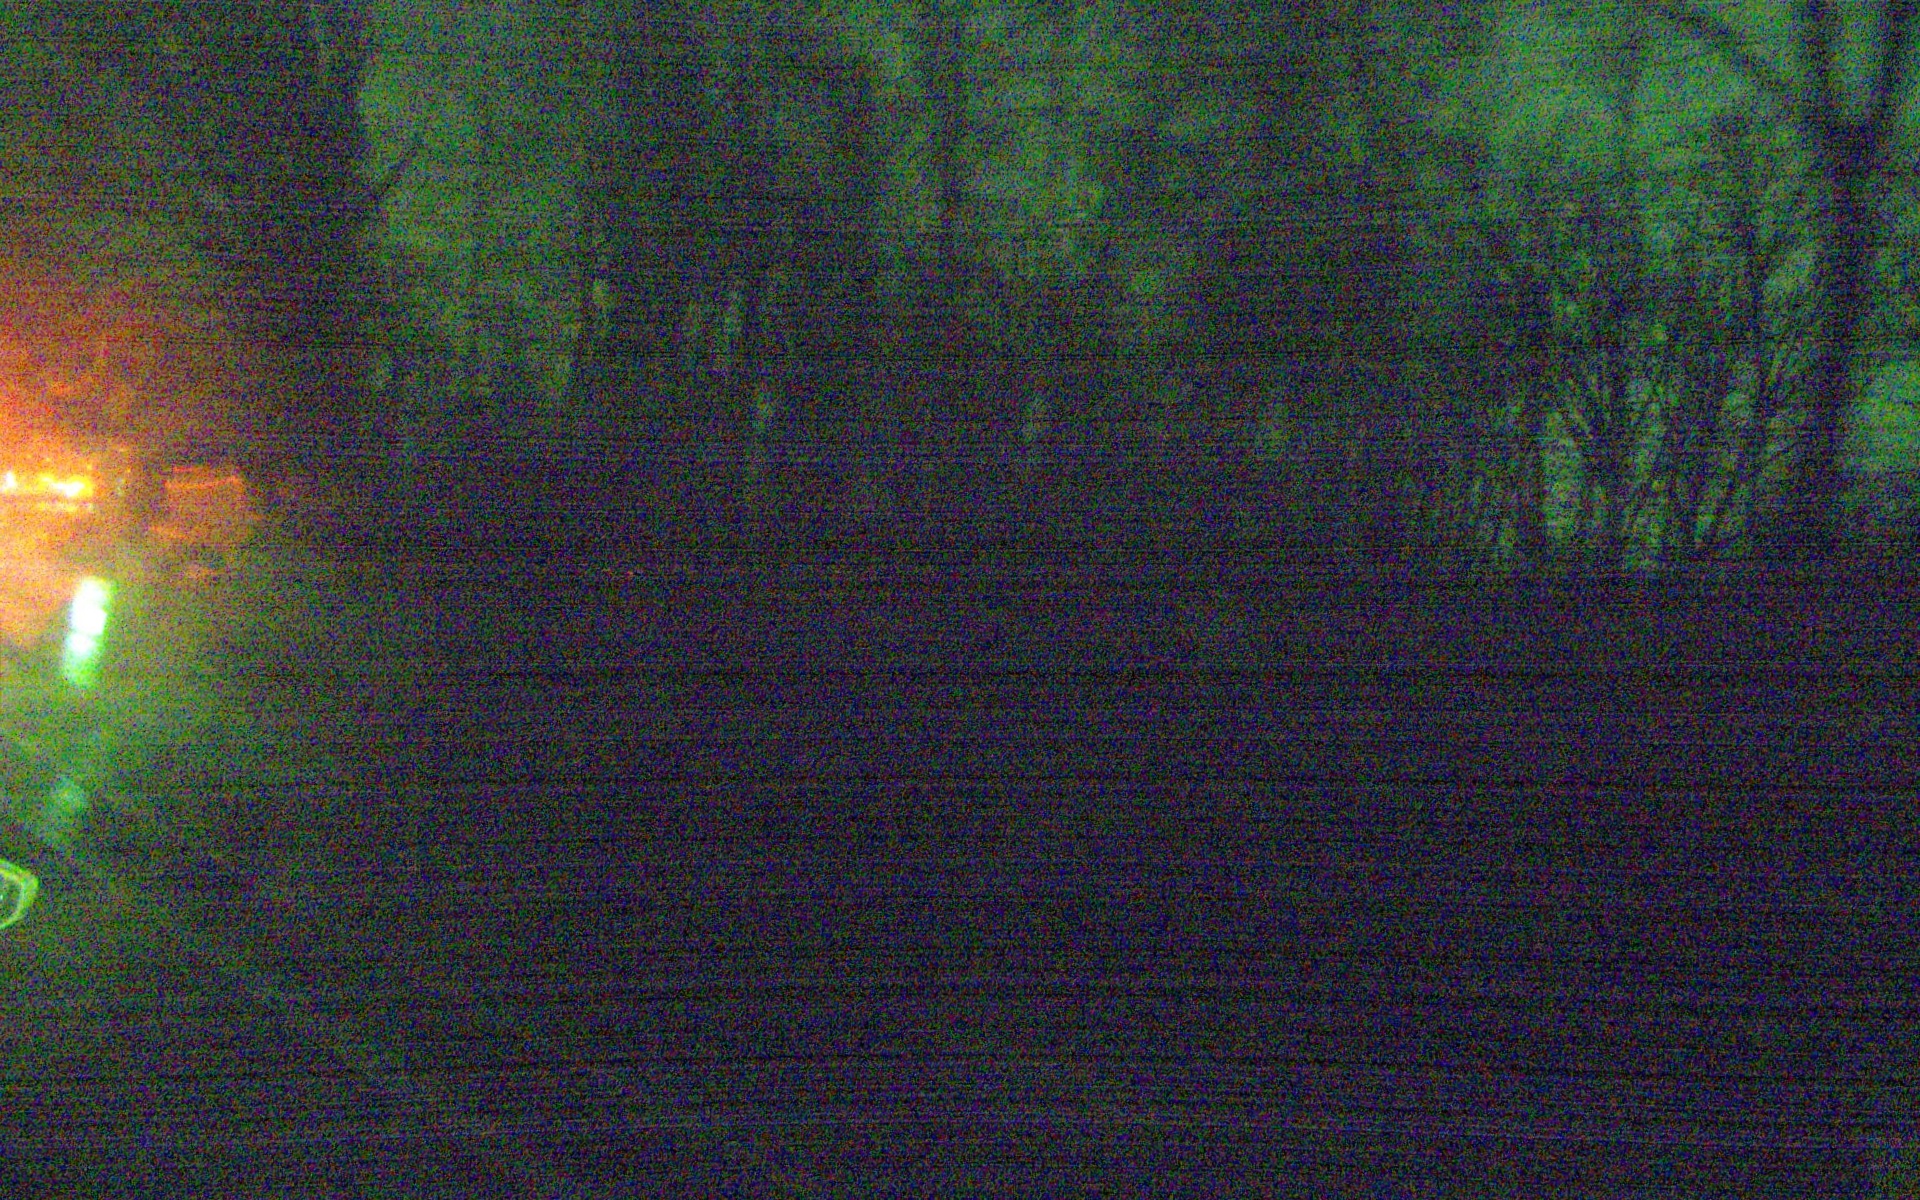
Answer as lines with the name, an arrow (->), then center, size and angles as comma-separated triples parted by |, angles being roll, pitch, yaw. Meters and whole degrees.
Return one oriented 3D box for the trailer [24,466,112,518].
trailer -> -46.177, -5.468, 52.319 | 2.064, 2.039, 10.548 | 5, 0, -35
